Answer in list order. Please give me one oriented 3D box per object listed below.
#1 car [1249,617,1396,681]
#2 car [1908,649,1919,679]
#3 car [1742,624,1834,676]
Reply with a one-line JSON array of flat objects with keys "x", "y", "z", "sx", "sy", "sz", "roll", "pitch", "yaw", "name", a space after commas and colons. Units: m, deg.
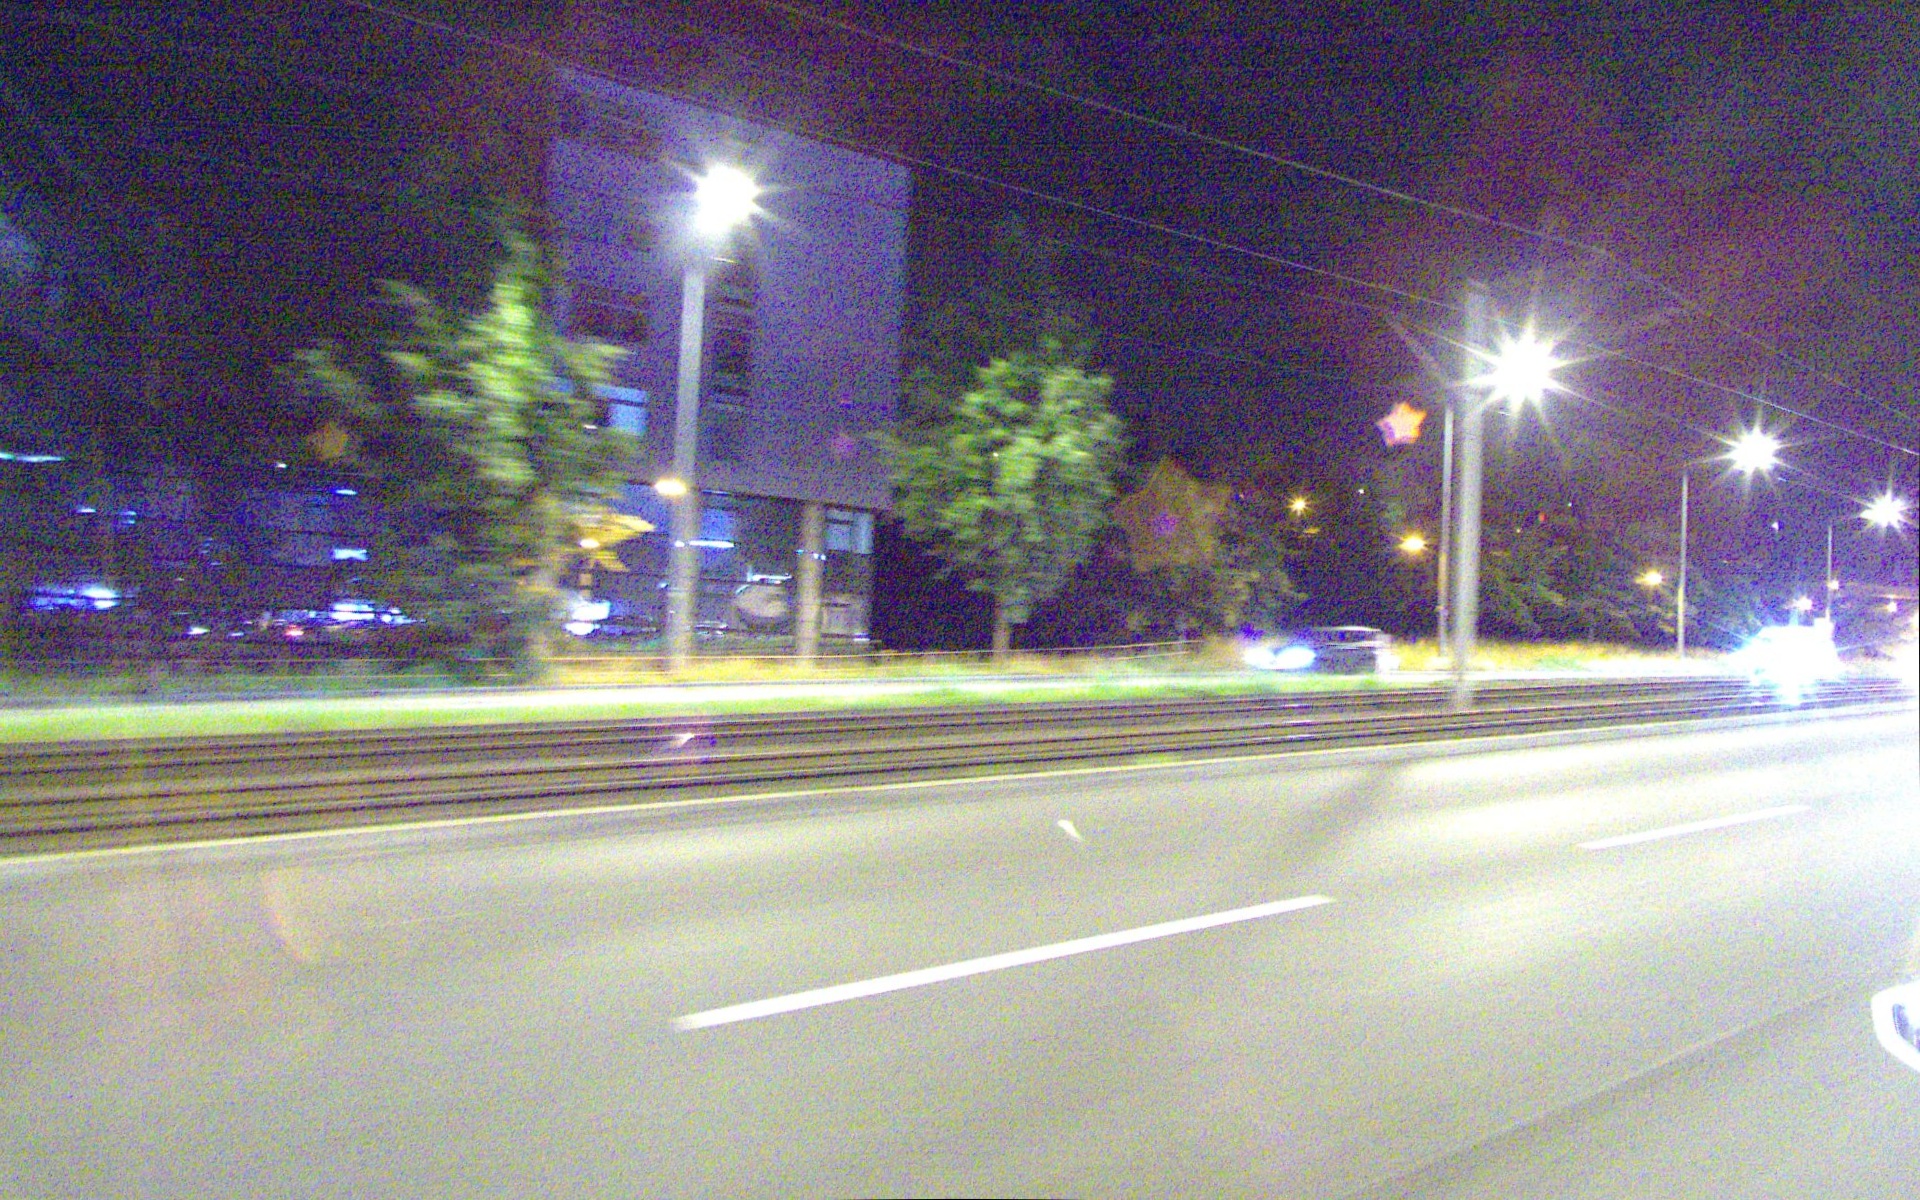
[{"x": 10.600, "y": 1.439, "z": 29.302, "sx": 4.177, "sy": 1.736, "sz": 1.771, "roll": 2, "pitch": -1, "yaw": -30, "name": "car"}, {"x": 48.101, "y": 3.133, "z": 49.014, "sx": 4.289, "sy": 1.458, "sz": 1.612, "roll": 2, "pitch": -3, "yaw": -31, "name": "car"}, {"x": 45.428, "y": 2.802, "z": 55.047, "sx": 6.894, "sy": 2.705, "sz": 2.132, "roll": 3, "pitch": -5, "yaw": -35, "name": "car"}]
